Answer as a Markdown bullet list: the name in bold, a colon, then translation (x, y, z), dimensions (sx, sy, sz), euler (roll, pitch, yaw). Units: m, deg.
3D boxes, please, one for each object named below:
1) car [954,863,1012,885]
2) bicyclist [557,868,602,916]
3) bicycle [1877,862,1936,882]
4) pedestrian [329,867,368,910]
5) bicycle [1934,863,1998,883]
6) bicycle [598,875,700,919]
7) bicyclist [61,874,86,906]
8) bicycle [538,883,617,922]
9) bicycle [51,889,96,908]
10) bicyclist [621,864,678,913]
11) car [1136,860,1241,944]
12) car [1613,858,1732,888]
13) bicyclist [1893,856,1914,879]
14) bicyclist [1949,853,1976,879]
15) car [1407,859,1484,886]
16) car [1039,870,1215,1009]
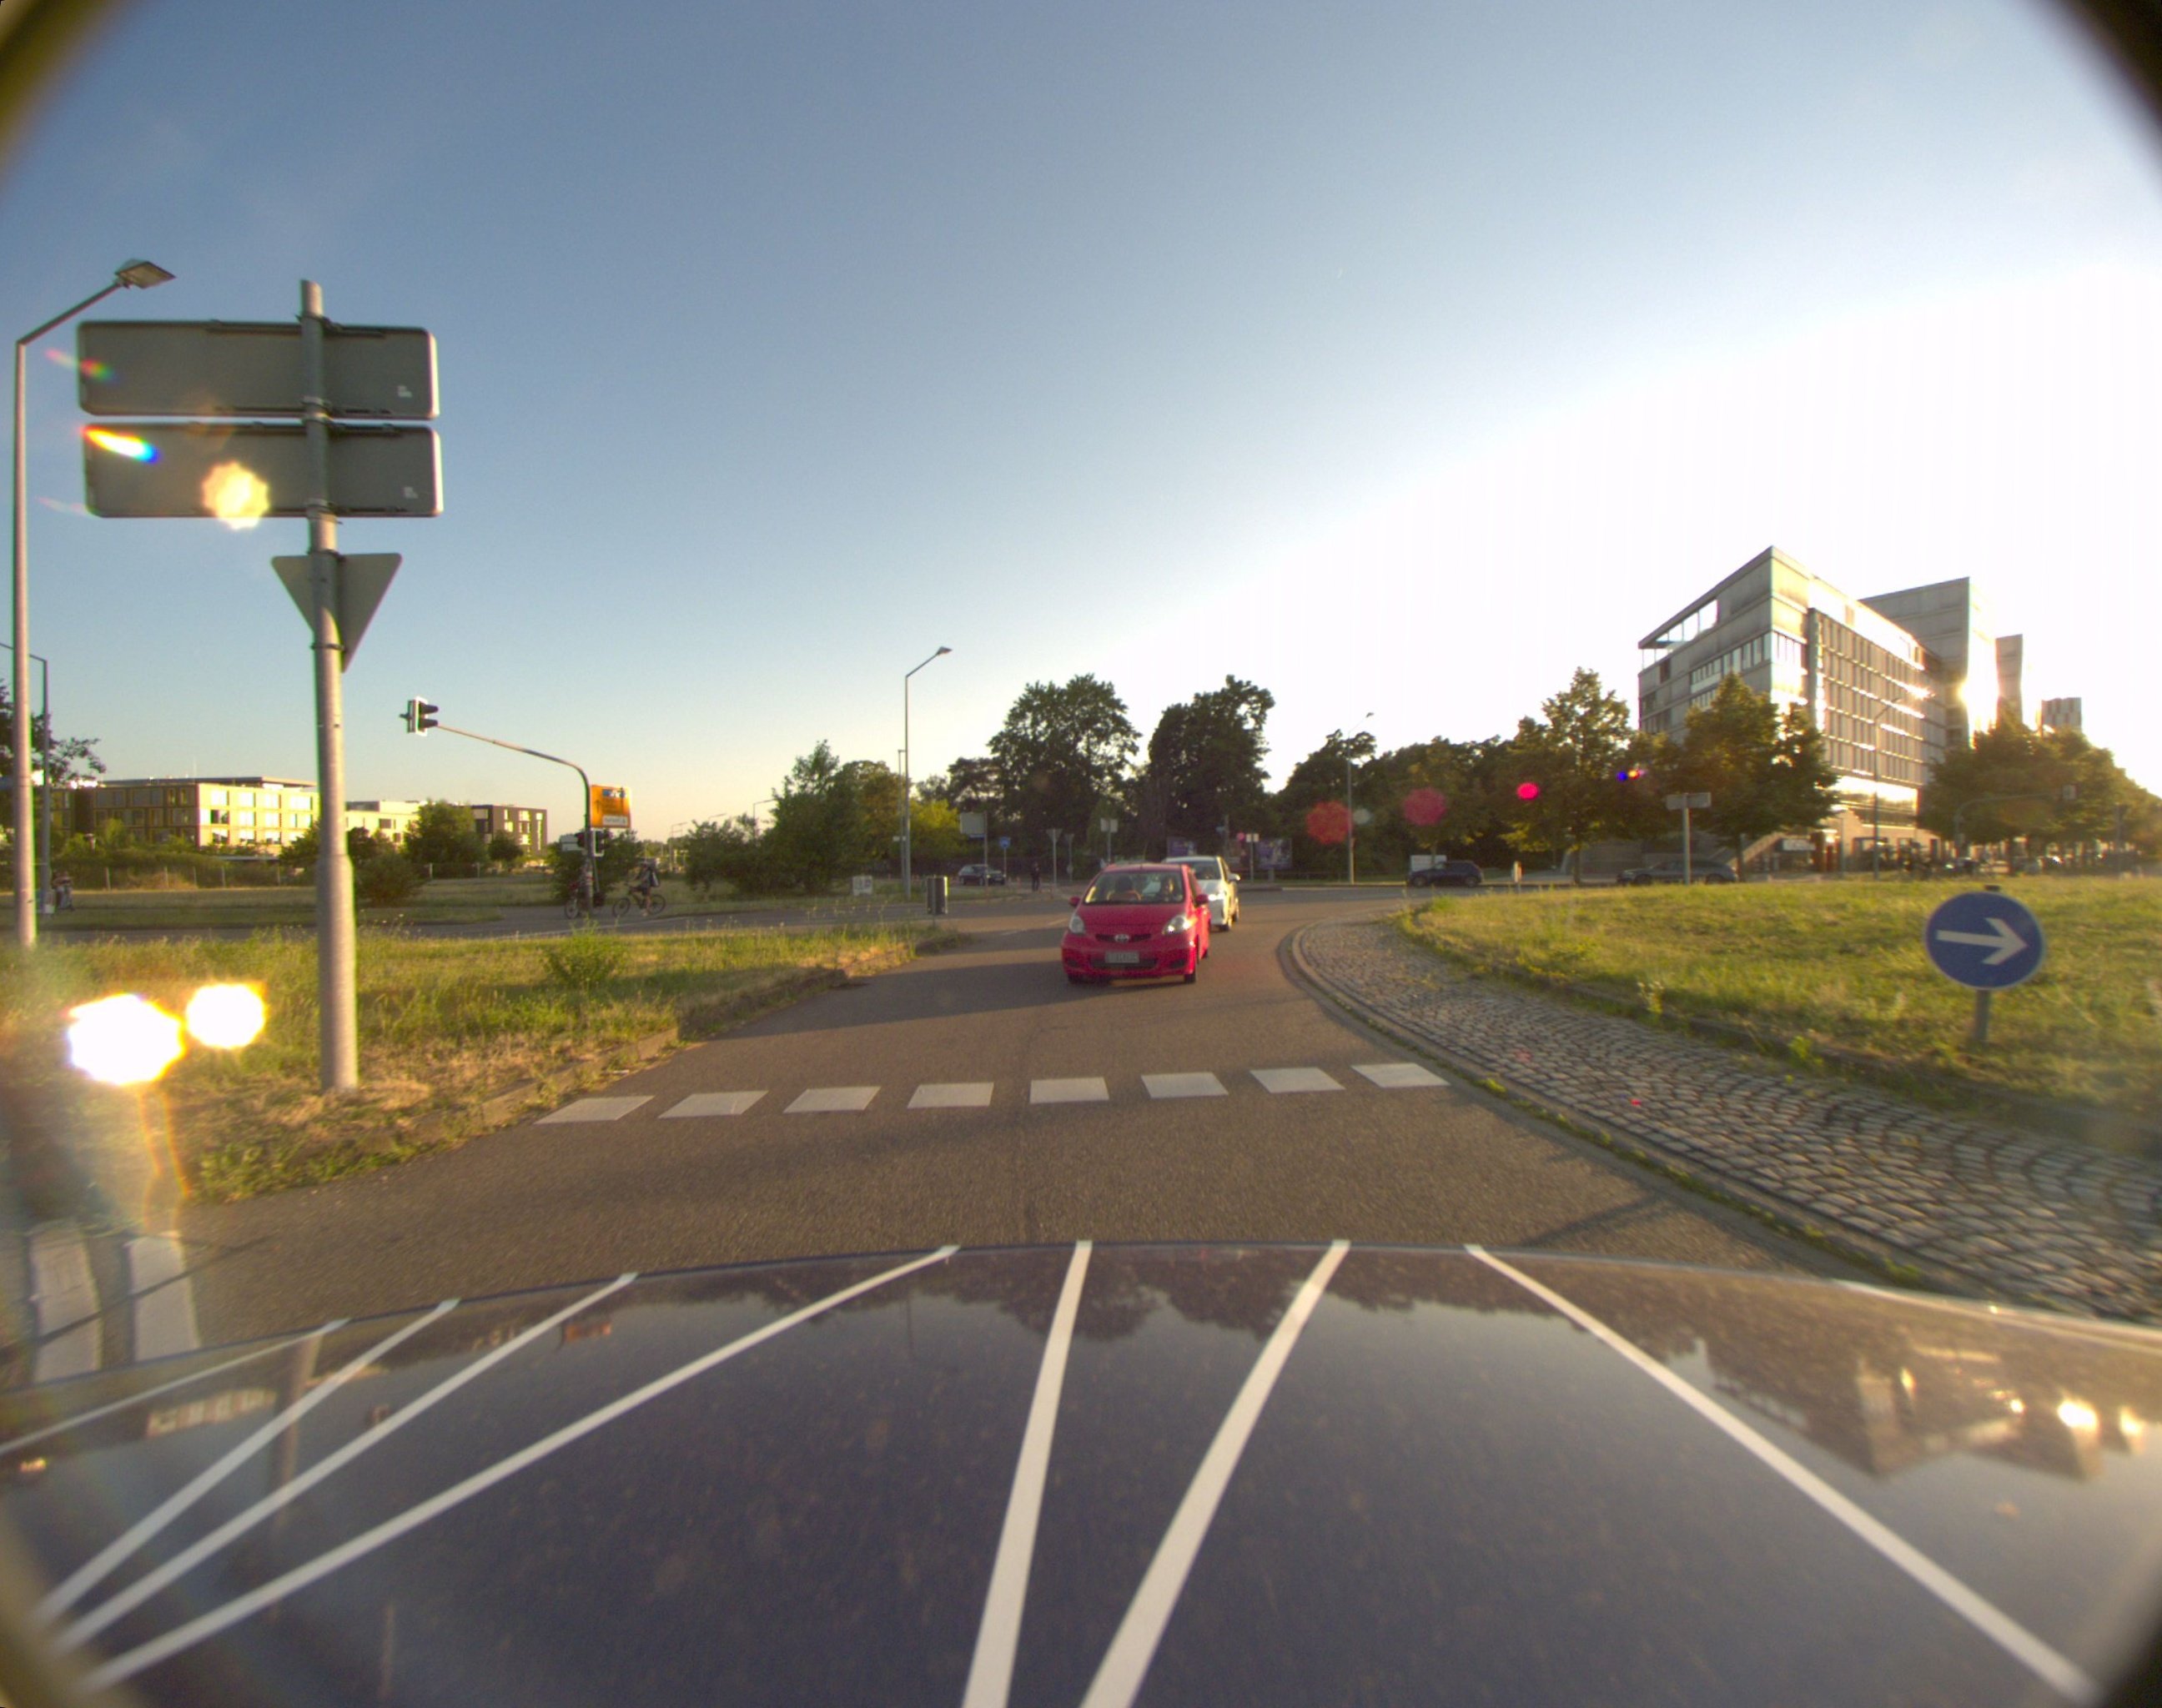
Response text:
- **car**: translation (-7.081, 1.382, 54.590), dimensions (4.242, 1.492, 1.846), euler (0, 0, 43)
- **bicyclist**: translation (-17.879, 1.328, 27.092), dimensions (0.809, 1.623, 1.002), euler (1, 2, 18)
- **bicycle**: translation (49.697, 1.088, 45.792), dimensions (0.756, 1.160, 2.402), euler (-1, 0, -43)
- **pedestrian**: translation (-29.512, 1.397, 30.618), dimensions (0.889, 1.691, 0.721), euler (-1, 0, 9)
- **bicycle**: translation (52.416, 1.116, 45.021), dimensions (2.402, 1.160, 0.756), euler (0, 0, 44)
- **bicycle**: translation (-15.789, 1.538, 27.951), dimensions (1.122, 1.387, 3.543), euler (0, 0, 14)
- **bicyclist**: translation (-44.611, 1.606, 33.648), dimensions (0.447, 1.389, 0.474), euler (-1, 0, 3)
- **bicycle**: translation (-17.894, 1.682, 27.080), dimensions (0.809, 1.172, 2.331), euler (1, 2, 18)
- **bicycle**: translation (-44.622, 1.983, 33.657), dimensions (1.417, 0.787, 0.474), euler (-1, 0, 3)
- **bicyclist**: translation (-15.804, 1.242, 27.843), dimensions (1.122, 1.739, 1.418), euler (0, 1, 14)
- **car**: translation (2.484, 0.935, 16.645), dimensions (1.757, 1.549, 4.219), euler (-1, 0, 15)
- **car**: translation (29.557, 0.949, 38.142), dimensions (4.392, 1.424, 1.948), euler (-1, 0, 24)
- **bicyclist**: translation (49.640, 0.811, 45.868), dimensions (0.756, 1.384, 0.877), euler (-1, 1, -43)
- **bicyclist**: translation (52.377, 0.704, 45.130), dimensions (0.976, 1.516, 0.756), euler (0, 1, 44)
- **car**: translation (20.040, 1.028, 41.919), dimensions (3.741, 1.424, 1.948), euler (-1, 0, 24)
- **car**: translation (0.840, 0.973, 10.333), dimensions (1.691, 1.413, 4.215), euler (-1, 0, 13)
